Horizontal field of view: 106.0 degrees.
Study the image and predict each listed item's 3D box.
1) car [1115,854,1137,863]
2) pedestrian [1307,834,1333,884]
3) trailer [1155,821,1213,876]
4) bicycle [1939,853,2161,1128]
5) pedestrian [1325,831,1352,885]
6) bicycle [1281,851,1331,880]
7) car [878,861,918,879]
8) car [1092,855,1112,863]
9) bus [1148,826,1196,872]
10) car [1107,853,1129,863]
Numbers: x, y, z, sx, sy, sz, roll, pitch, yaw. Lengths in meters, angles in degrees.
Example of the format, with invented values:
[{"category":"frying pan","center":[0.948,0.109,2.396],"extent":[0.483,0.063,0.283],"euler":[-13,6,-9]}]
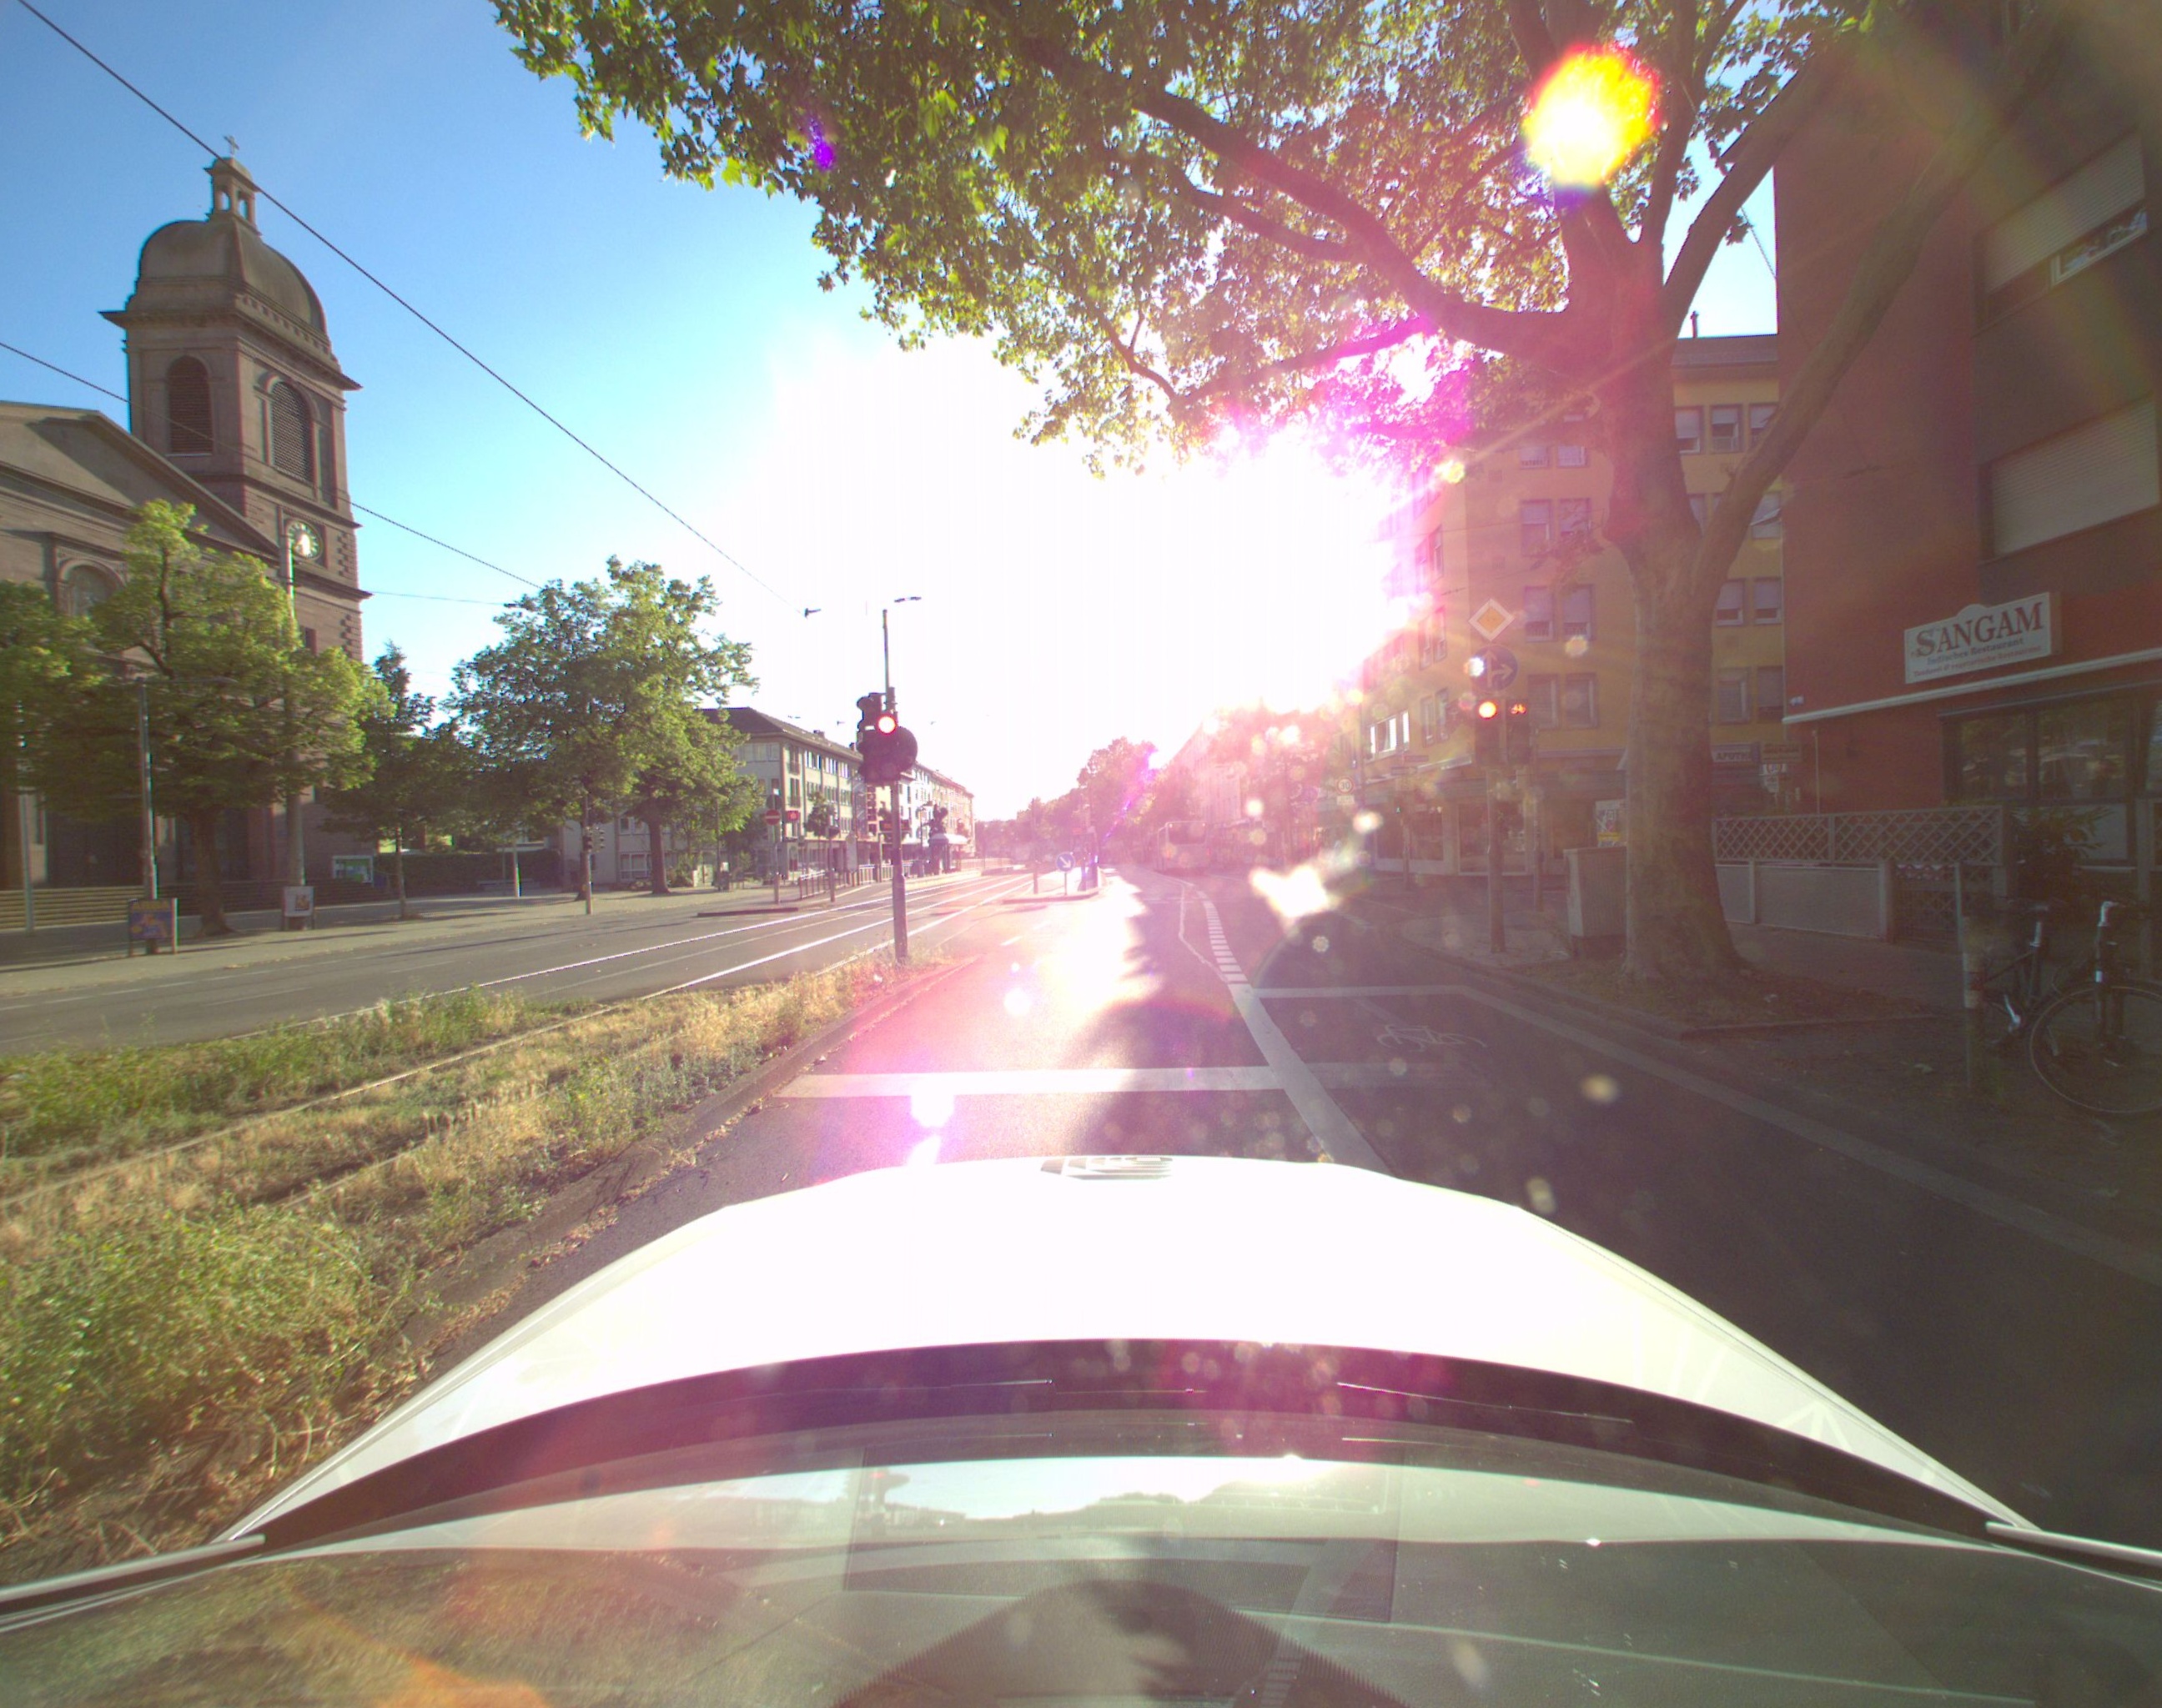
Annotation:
[{"category":"car","center":[8.803,0.851,160.292],"extent":[3.911,1.699,1.817],"euler":[-2,0,-27]},{"category":"pedestrian","center":[8.526,0.175,29.067],"extent":[0.677,1.770,0.687],"euler":[-2,0,2]},{"category":"trailer","center":[6.237,-0.324,50.773],"extent":[2.801,3.110,8.798],"euler":[0,0,2]},{"category":"bicycle","center":[5.653,0.660,4.747],"extent":[0.687,1.203,1.859],"euler":[0,4,40]},{"category":"pedestrian","center":[8.649,0.146,27.382],"extent":[0.677,1.770,0.687],"euler":[-2,0,2]},{"category":"bicycle","center":[8.987,0.463,32.611],"extent":[1.766,1.021,0.694],"euler":[-4,0,1]},{"category":"car","center":[-20.658,1.785,91.936],"extent":[4.007,1.816,1.984],"euler":[-2,0,-25]},{"category":"car","center":[4.333,1.056,167.898],"extent":[3.911,1.596,1.676],"euler":[-2,0,-27]},{"category":"bus","center":[6.559,-0.328,59.733],"extent":[2.801,3.101,9.098],"euler":[0,0,2]},{"category":"car","center":[7.431,0.783,163.112],"extent":[3.911,1.699,1.817],"euler":[-2,0,-27]}]
